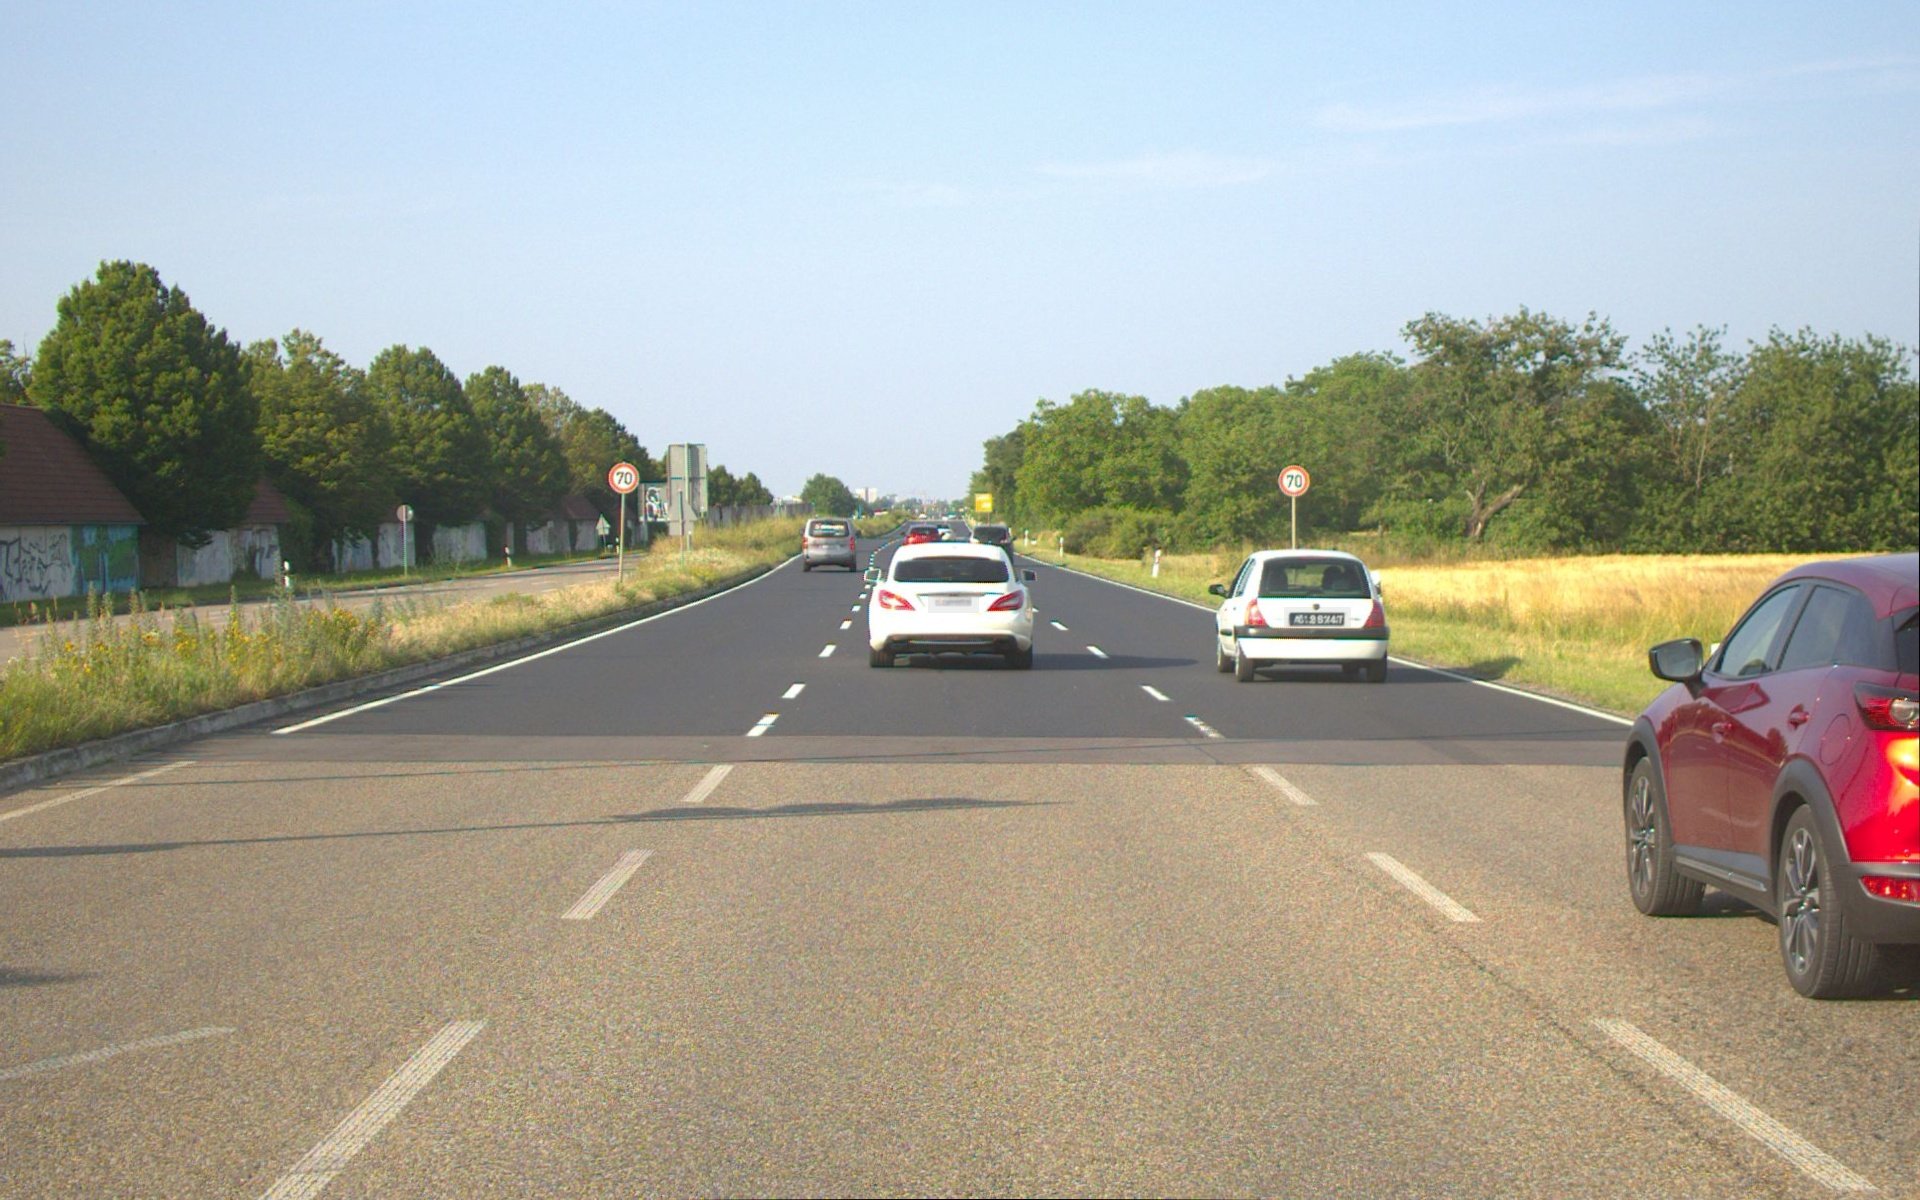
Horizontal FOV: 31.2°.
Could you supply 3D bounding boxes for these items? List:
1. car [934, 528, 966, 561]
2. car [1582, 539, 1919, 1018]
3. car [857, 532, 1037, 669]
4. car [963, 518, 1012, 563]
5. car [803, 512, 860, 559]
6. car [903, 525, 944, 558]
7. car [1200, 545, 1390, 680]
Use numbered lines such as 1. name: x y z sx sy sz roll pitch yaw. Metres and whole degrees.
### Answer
1. car: -0.569 -3.255 202.192 1.803 1.897 3.559 1 1 1
2. car: 3.657 0.540 13.031 1.704 1.500 4.501 1 1 -1
3. car: -0.157 -0.019 40.200 1.993 1.511 4.000 1 1 0
4. car: 1.059 -2.303 133.792 1.828 1.722 4.000 1 1 -1
5. car: -4.484 -2.252 120.286 1.758 1.612 4.000 1 1 1
6. car: -1.659 -2.615 154.598 1.812 1.431 3.859 1 1 -1
7. car: 3.591 0.104 37.403 1.617 1.382 3.952 1 1 -1
